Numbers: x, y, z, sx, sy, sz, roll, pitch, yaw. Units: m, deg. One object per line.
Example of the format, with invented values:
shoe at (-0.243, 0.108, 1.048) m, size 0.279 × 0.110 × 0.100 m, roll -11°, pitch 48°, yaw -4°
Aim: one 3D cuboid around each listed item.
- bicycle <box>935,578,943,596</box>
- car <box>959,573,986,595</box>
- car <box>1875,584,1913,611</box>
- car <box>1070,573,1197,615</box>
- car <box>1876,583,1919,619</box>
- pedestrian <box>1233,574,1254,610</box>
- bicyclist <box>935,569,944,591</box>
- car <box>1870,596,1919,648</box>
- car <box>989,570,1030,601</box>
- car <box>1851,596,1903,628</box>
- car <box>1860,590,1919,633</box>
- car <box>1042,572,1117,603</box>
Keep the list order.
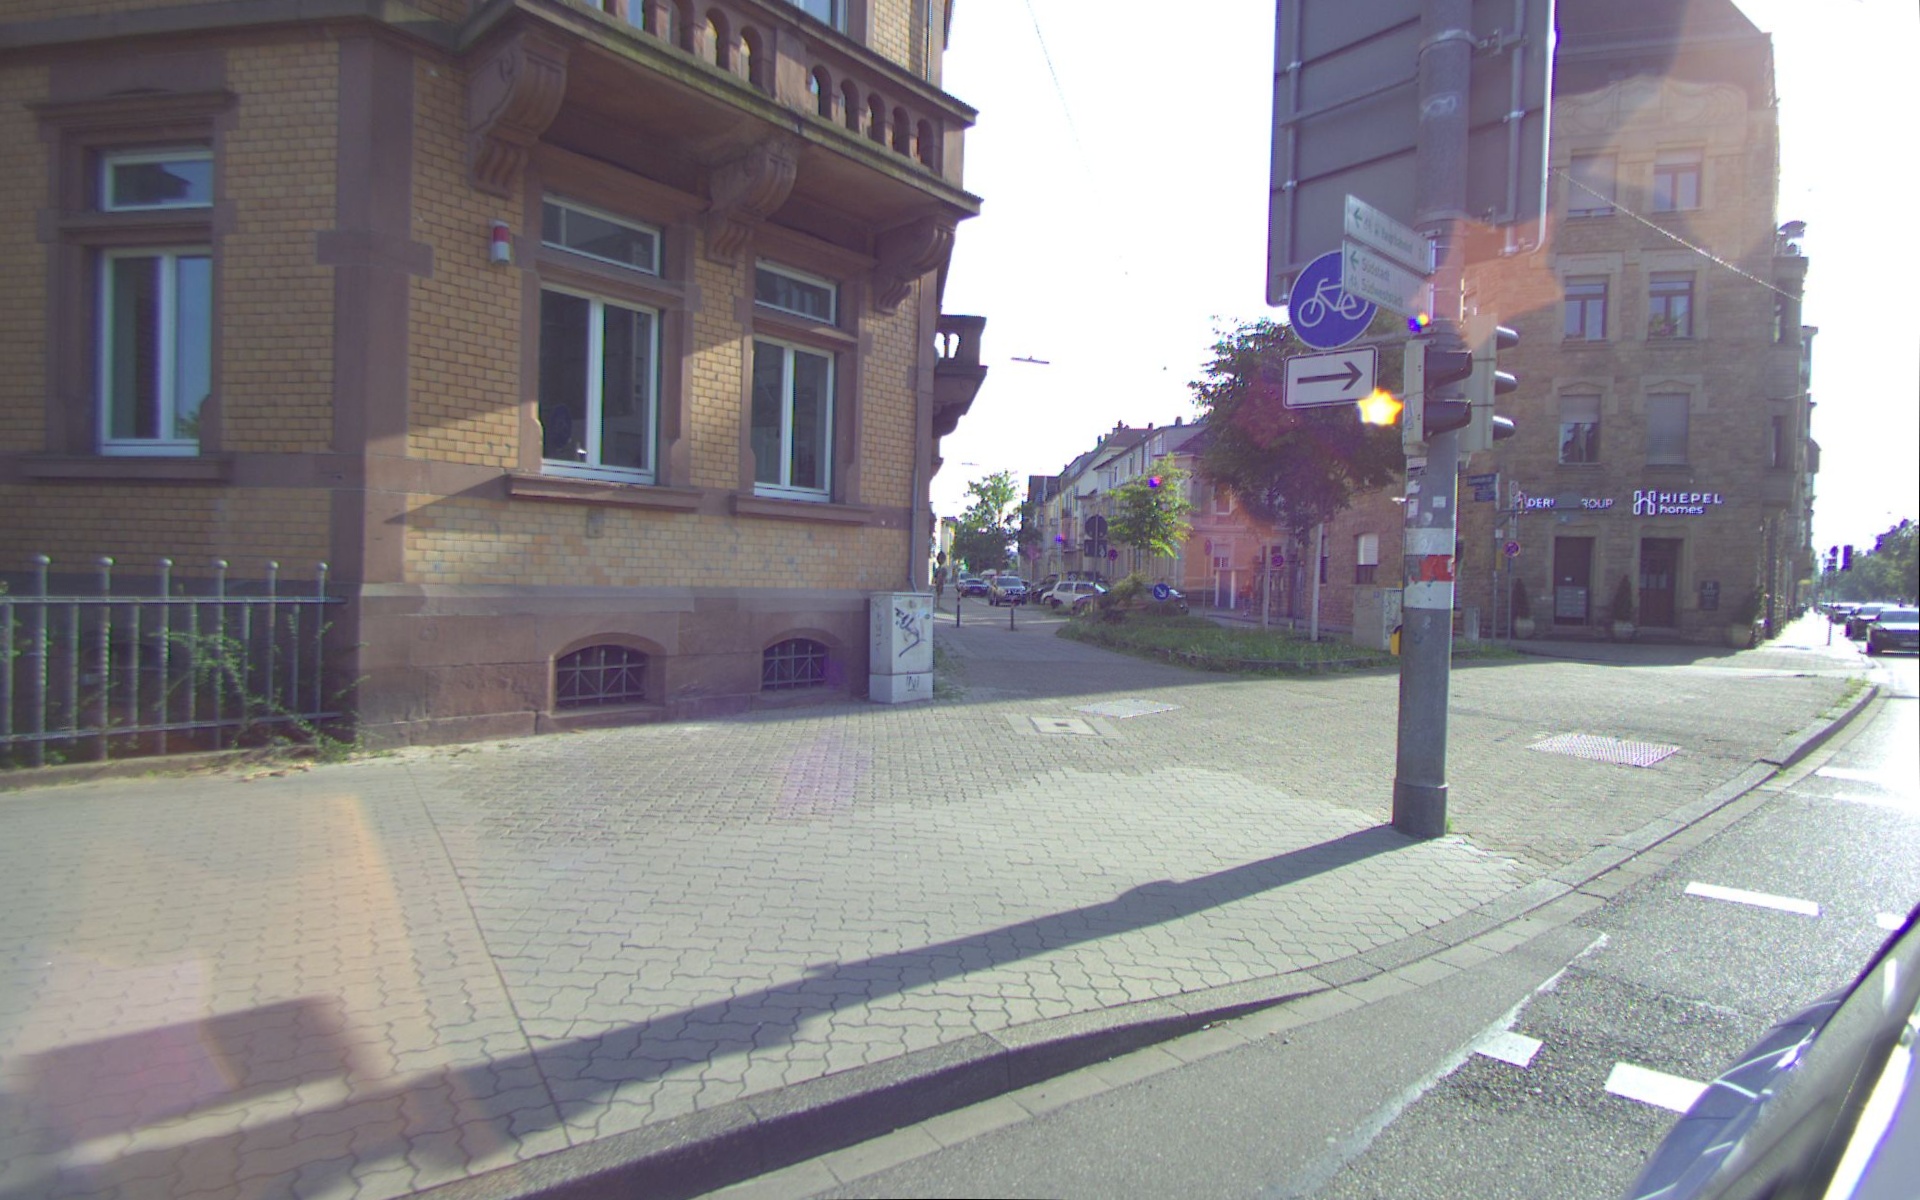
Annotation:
bicycle at (-1.520, -0.984, 73.716) m, size 0.560 × 1.273 × 1.570 m, roll 1°, pitch 1°, yaw -2°
car at (0.968, -1.225, 79.634) m, size 1.961 × 1.671 × 4.001 m, roll 1°, pitch 1°, yaw -2°
car at (74.634, -0.214, 80.905) m, size 1.992 × 2.038 × 3.941 m, roll 2°, pitch 2°, yaw 41°
car at (6.625, -0.259, 38.845) m, size 4.420 × 1.533 × 1.977 m, roll 1°, pitch 1°, yaw 33°
car at (55.889, 0.051, 60.123) m, size 1.992 × 2.038 × 3.941 m, roll 2°, pitch 2°, yaw 41°
pedestrian at (13.714, -0.380, 48.973) m, size 0.749 × 1.696 × 0.783 m, roll 1°, pitch 0°, yaw 0°
bicyclist at (-1.502, -1.454, 73.724) m, size 0.642 × 1.560 × 0.897 m, roll 1°, pitch 1°, yaw -2°
car at (29.923, 0.665, 31.765) m, size 1.832 × 1.522 × 4.205 m, roll 1°, pitch 1°, yaw 39°
car at (2.712, -0.805, 56.175) m, size 1.961 × 1.671 × 4.001 m, roll 1°, pitch 1°, yaw -2°
car at (45.558, 0.563, 50.279) m, size 1.835 × 1.499 × 3.938 m, roll 1°, pitch 1°, yaw 43°
car at (42.208, 0.477, 45.822) m, size 1.991 × 1.805 × 3.942 m, roll 2°, pitch 2°, yaw 40°
car at (6.725, -0.686, 56.906) m, size 3.945 × 1.672 × 1.989 m, roll 1°, pitch 0°, yaw 17°
